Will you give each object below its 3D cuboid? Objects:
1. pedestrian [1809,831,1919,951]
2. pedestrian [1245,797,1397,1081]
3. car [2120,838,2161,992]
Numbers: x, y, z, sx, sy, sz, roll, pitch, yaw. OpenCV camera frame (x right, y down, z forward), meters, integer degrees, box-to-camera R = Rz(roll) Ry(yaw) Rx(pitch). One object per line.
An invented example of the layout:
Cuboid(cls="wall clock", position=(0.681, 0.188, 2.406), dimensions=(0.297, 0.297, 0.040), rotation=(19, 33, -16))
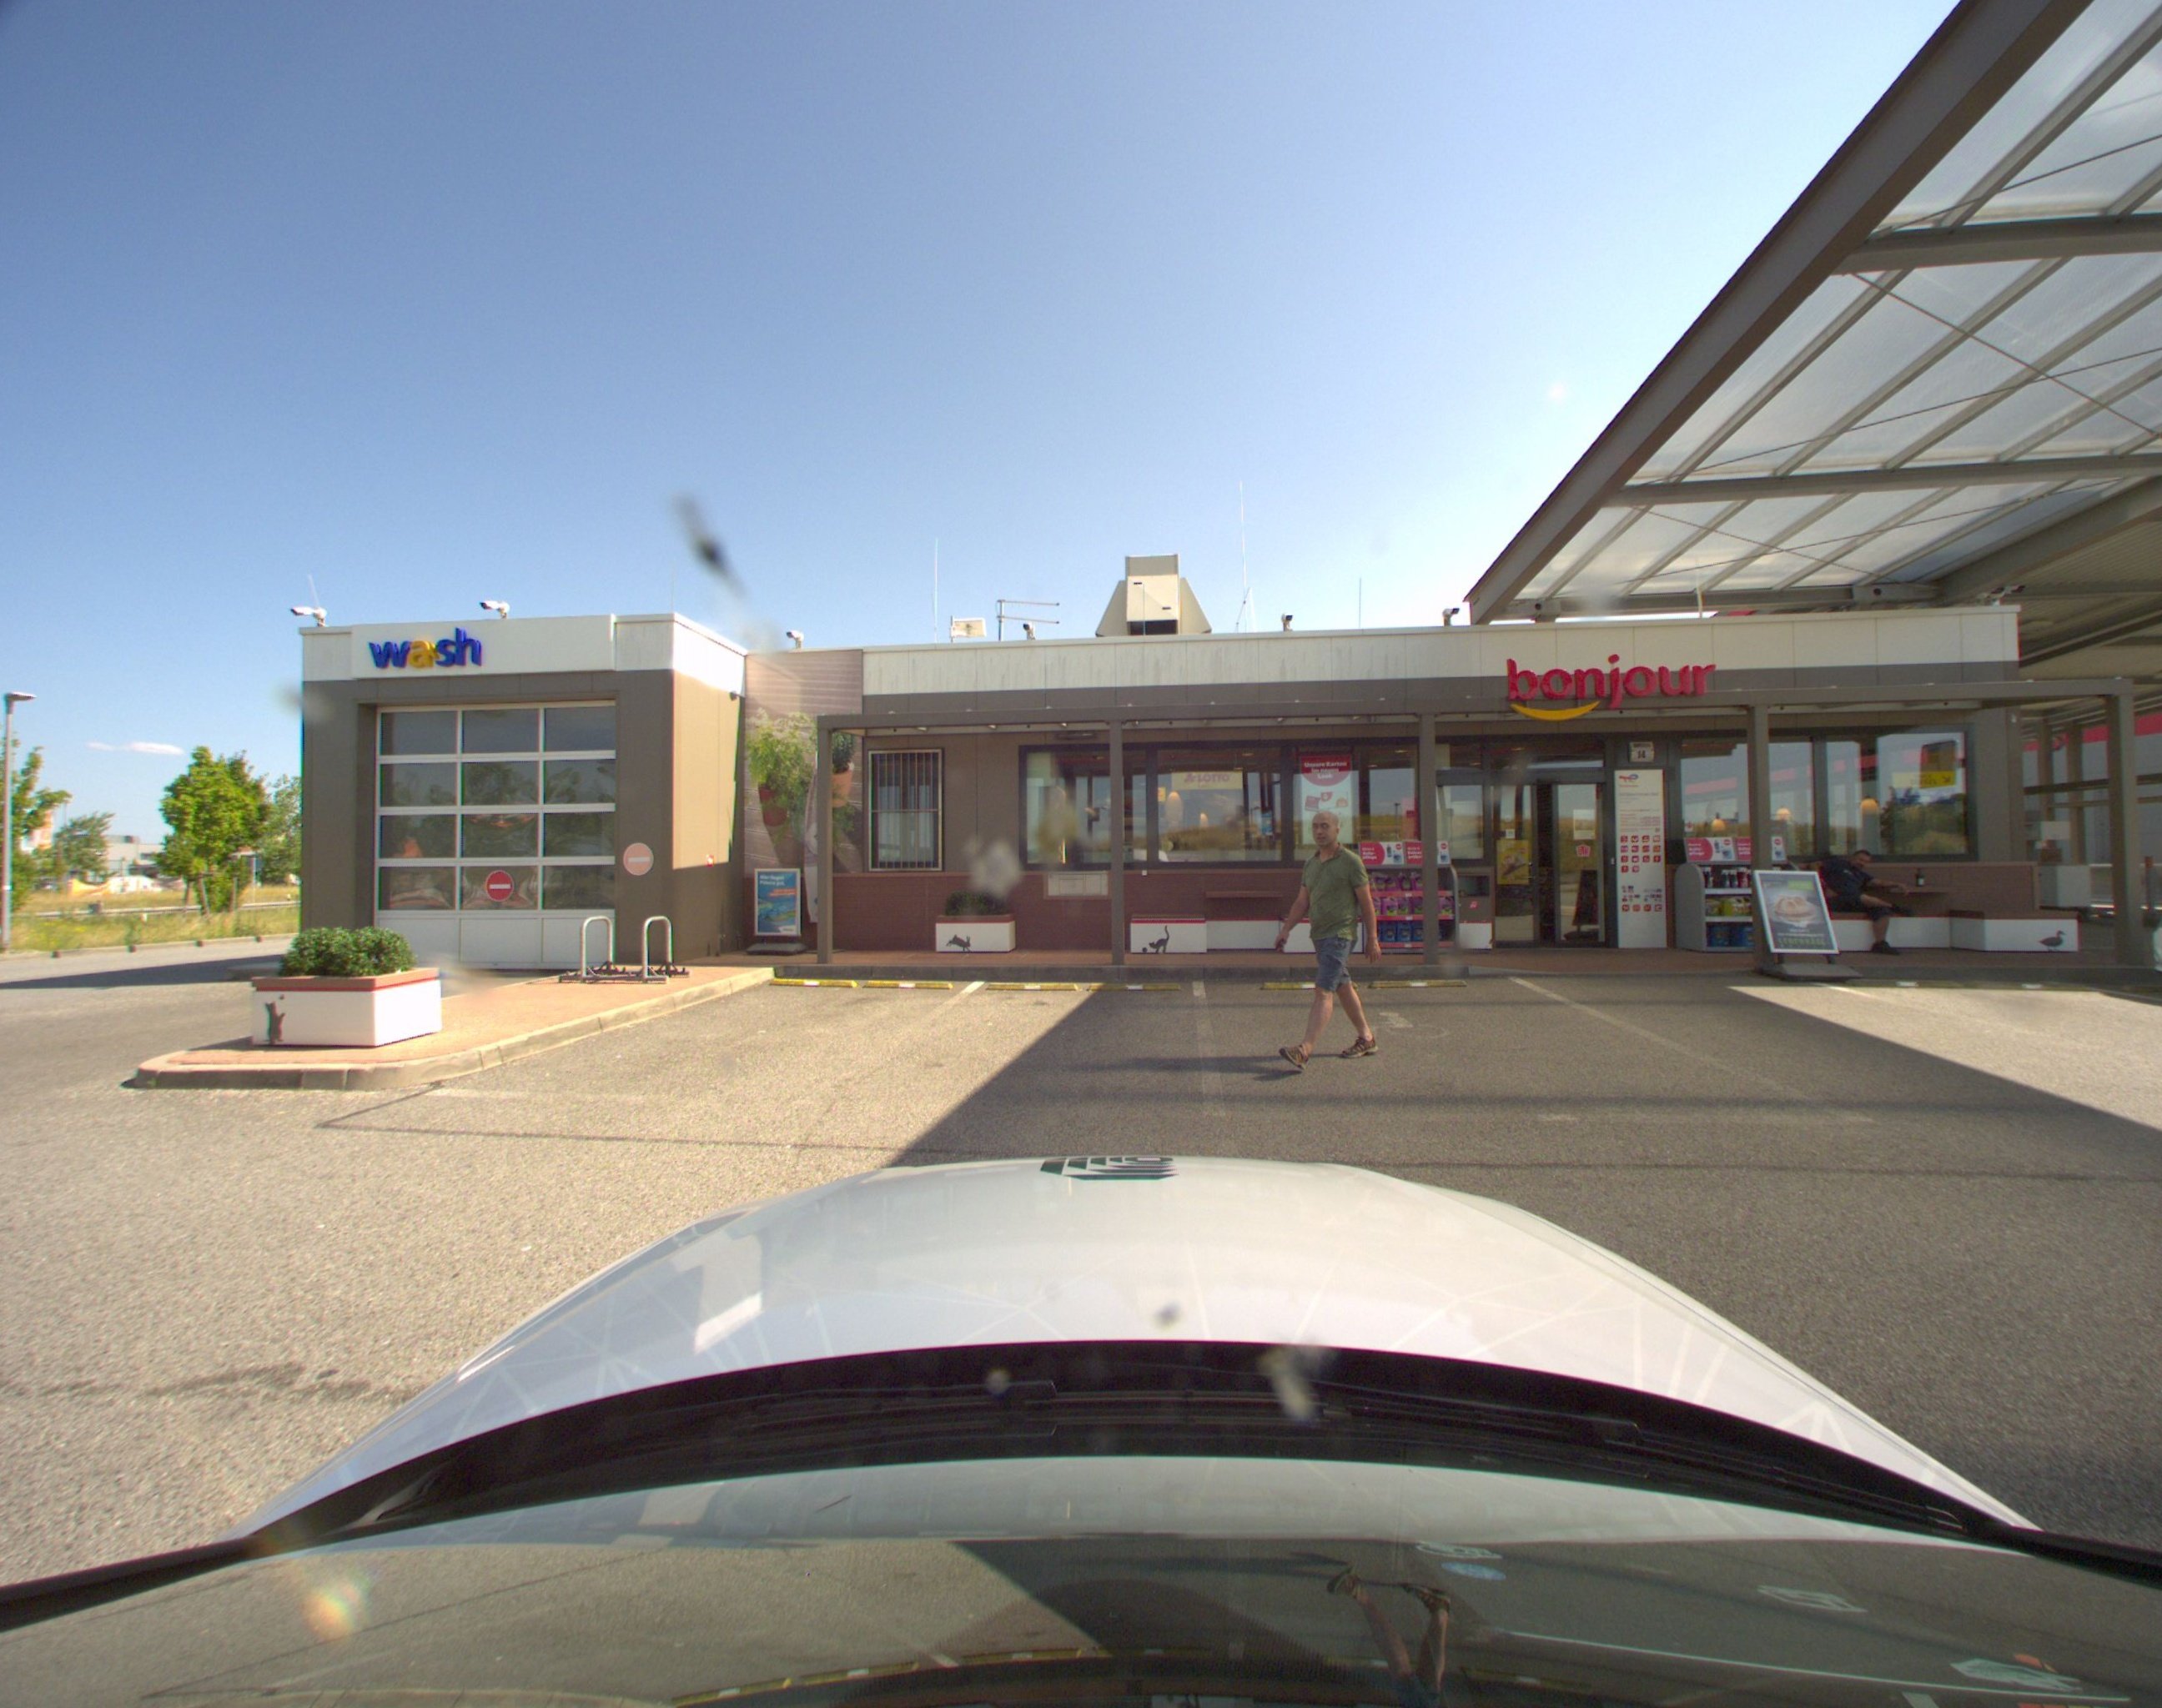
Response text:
Cuboid(cls="pedestrian", position=(9.703, 0.446, 10.119), dimensions=(0.698, 1.432, 0.673), rotation=(-1, -1, 5))
Cuboid(cls="pedestrian", position=(1.695, 0.541, 5.725), dimensions=(0.694, 1.797, 0.868), rotation=(-1, -1, 41))
Cuboid(cls="car", position=(11.101, 0.553, 5.828), dimensions=(1.824, 1.457, 4.320), rotation=(-1, 0, 0))
